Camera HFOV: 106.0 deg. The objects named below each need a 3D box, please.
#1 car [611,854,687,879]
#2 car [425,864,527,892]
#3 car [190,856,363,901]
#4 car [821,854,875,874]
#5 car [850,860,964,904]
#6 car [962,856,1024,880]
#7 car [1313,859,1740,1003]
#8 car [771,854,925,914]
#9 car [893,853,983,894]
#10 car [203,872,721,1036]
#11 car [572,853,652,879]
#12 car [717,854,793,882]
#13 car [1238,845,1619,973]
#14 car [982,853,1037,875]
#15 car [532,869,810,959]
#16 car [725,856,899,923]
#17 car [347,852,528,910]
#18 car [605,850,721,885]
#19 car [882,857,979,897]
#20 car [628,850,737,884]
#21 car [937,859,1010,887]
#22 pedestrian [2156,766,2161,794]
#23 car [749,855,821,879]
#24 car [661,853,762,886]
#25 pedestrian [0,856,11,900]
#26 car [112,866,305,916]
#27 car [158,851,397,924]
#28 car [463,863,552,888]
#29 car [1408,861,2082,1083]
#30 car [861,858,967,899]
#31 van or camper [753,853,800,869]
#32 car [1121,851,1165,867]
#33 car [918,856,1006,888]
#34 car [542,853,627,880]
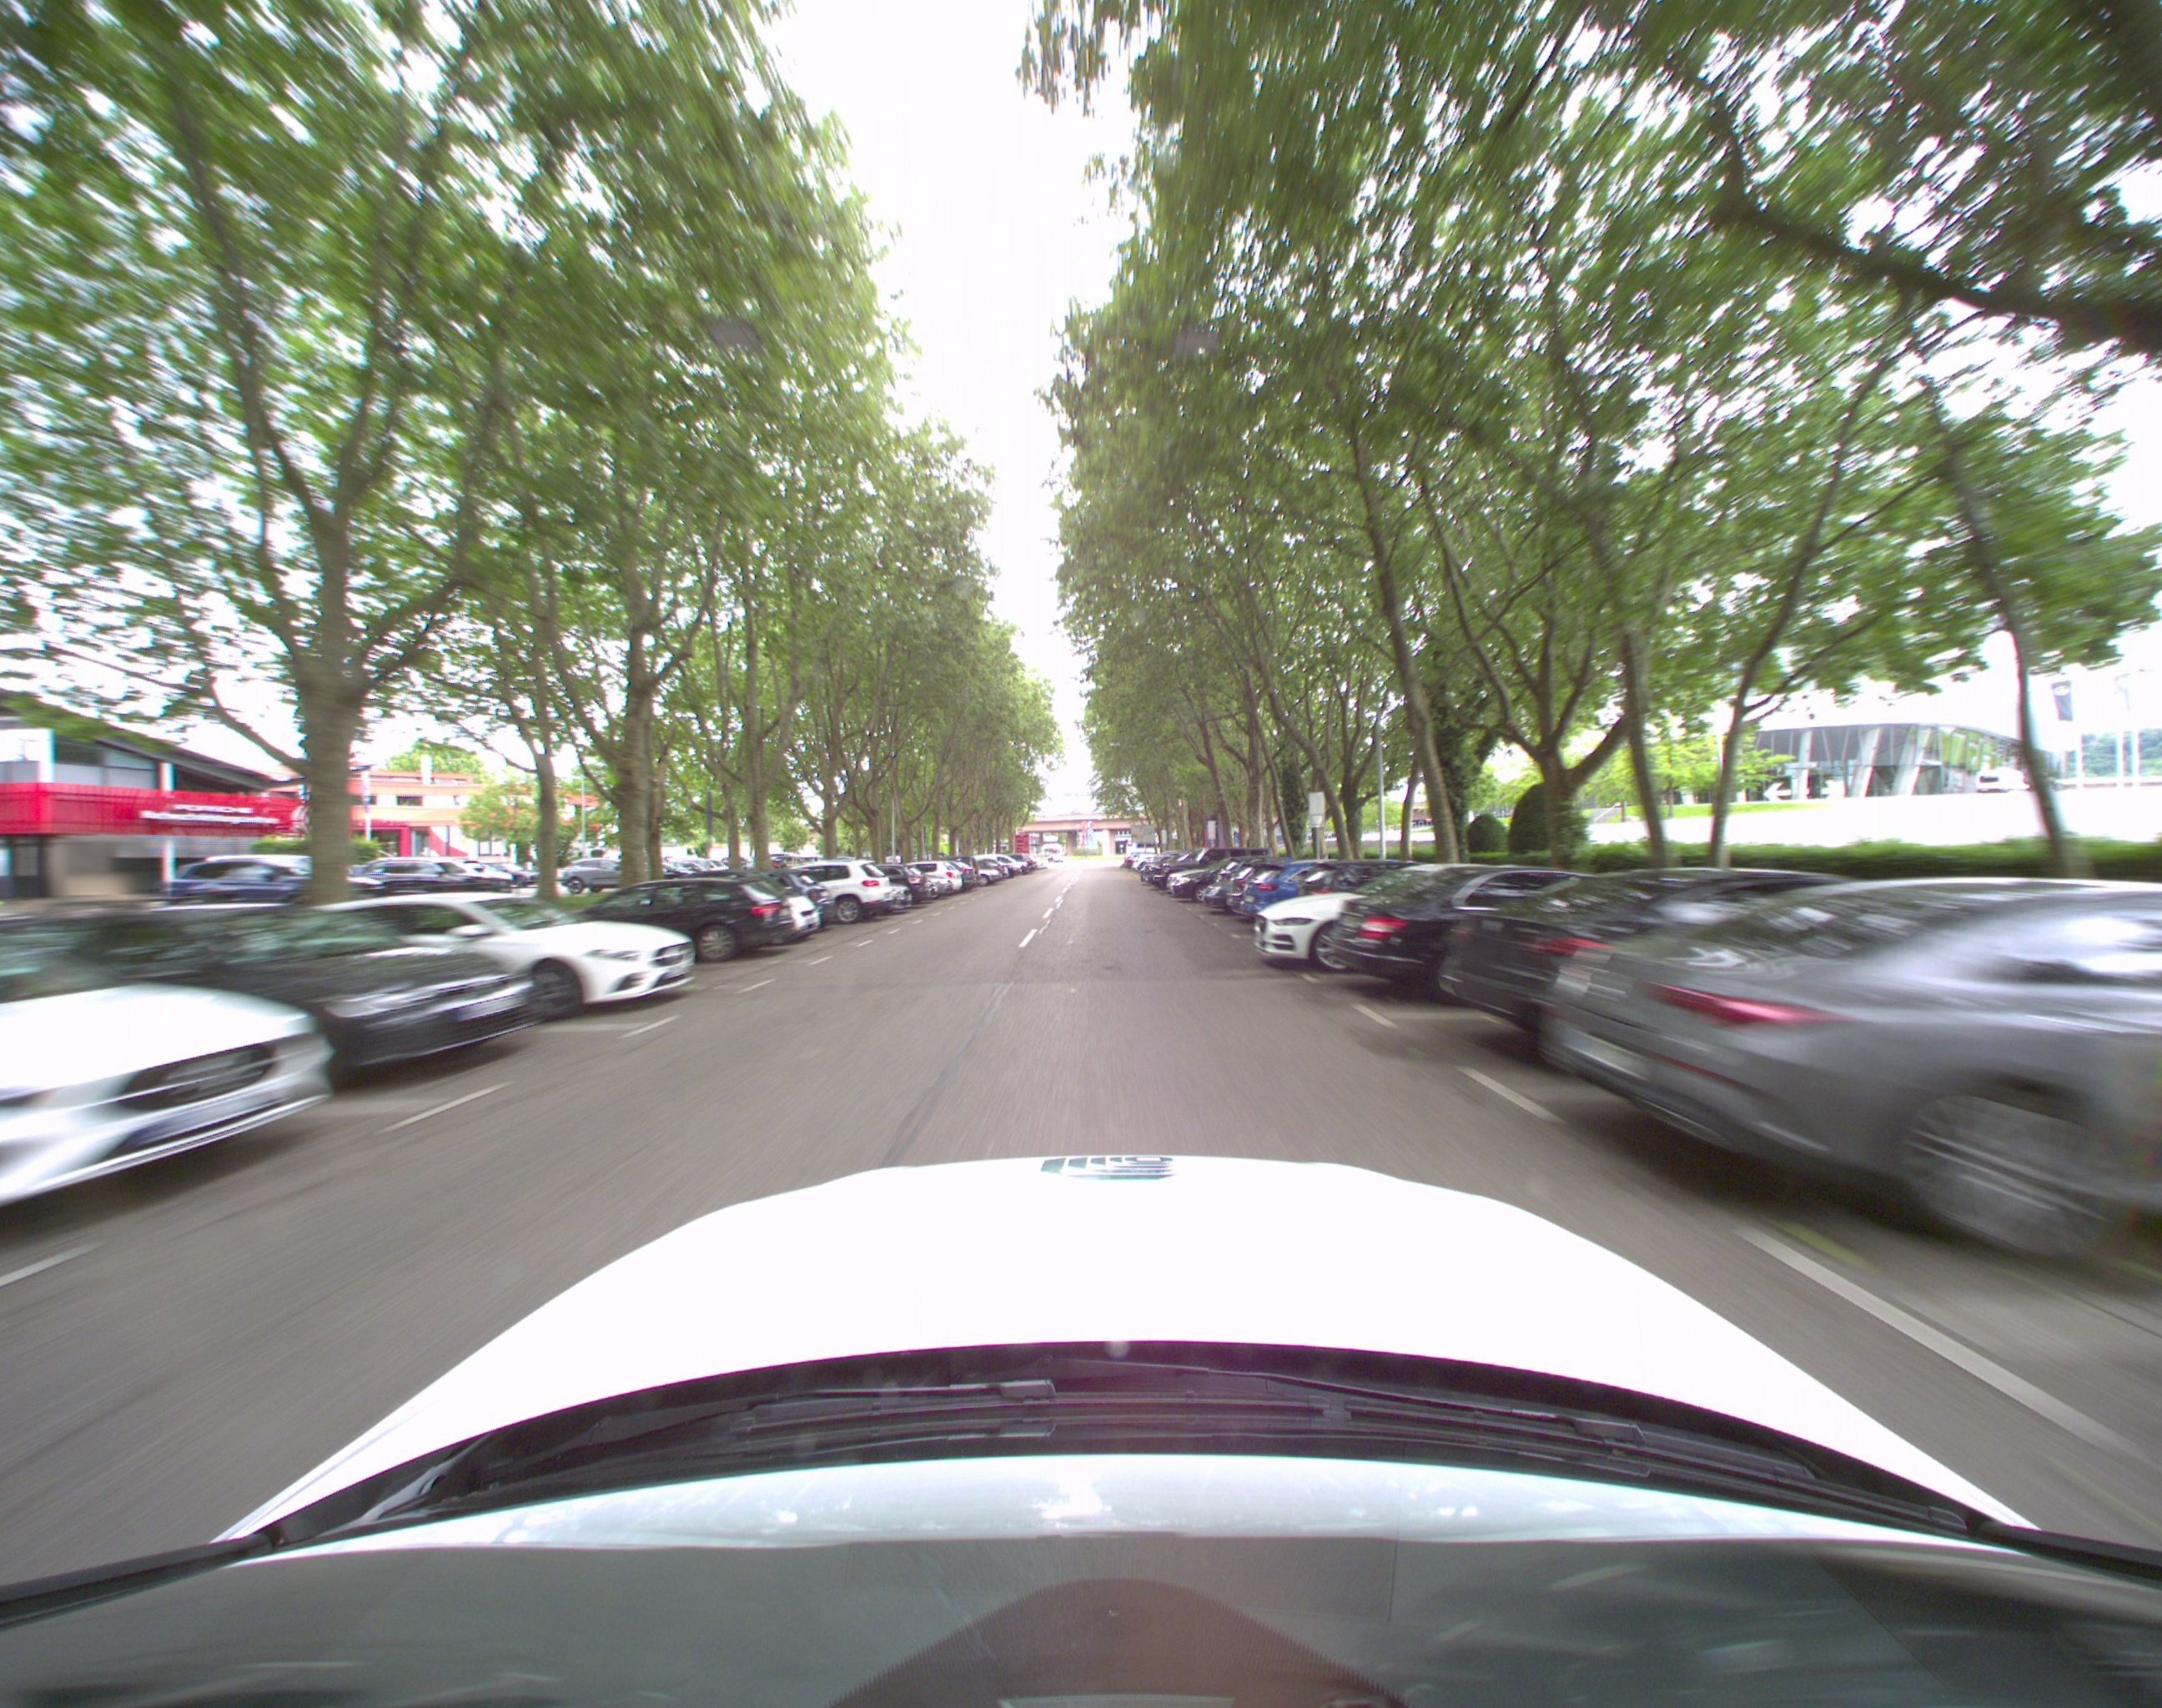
[{"bbox_3d":[-32.938,0.975,62.143,4.556,1.855,2.300,0,-1,5],"label":"car"},{"bbox_3d":[-32.807,1.274,44.235,3.975,1.427,1.999,0,-1,-1],"label":"car"},{"bbox_3d":[-33.422,0.995,33.967,4.928,1.797,2.182,0,-1,-2],"label":"car"},{"bbox_3d":[-21.505,0.919,75.239,4.307,1.709,2.131,0,-1,0],"label":"car"},{"bbox_3d":[-6.666,1.062,31.547,3.981,1.420,1.703,-3,0,-1],"label":"car"},{"bbox_3d":[-6.103,0.950,56.627,3.961,1.421,1.757,-3,0,4],"label":"car"},{"bbox_3d":[4.700,0.778,9.017,3.816,1.417,1.719,0,0,1],"label":"car"},{"bbox_3d":[-6.824,0.861,24.100,3.972,1.682,1.856,0,-1,1],"label":"car"},{"bbox_3d":[-6.786,0.900,38.934,3.919,1.708,1.751,-3,0,-1],"label":"car"},{"bbox_3d":[-6.917,1.069,9.553,4.394,1.444,2.047,-3,0,-1],"label":"car"},{"bbox_3d":[-34.097,0.888,59.270,4.556,1.855,2.300,0,-1,5],"label":"car"},{"bbox_3d":[-22.183,0.960,55.516,4.307,1.861,2.028,0,-1,0],"label":"car"},{"bbox_3d":[4.619,0.695,11.416,4.507,1.623,2.055,0,0,1],"label":"car"},{"bbox_3d":[-5.859,0.823,66.833,4.302,1.795,2.037,0,-1,1],"label":"car"},{"bbox_3d":[-7.142,1.010,14.476,3.972,1.453,1.856,0,-1,1],"label":"car"},{"bbox_3d":[-7.057,0.903,21.676,3.972,1.682,1.856,0,-1,1],"label":"car"},{"bbox_3d":[-22.208,0.895,28.271,4.540,1.720,1.999,-3,0,-2],"label":"car"},{"bbox_3d":[-21.906,0.698,42.855,4.928,1.797,2.182,0,-1,-2],"label":"car"},{"bbox_3d":[-6.676,1.005,36.433,3.919,1.516,1.728,-3,0,-1],"label":"car"},{"bbox_3d":[-22.126,0.718,45.392,4.928,1.797,2.182,0,-1,-2],"label":"car"},{"bbox_3d":[-6.129,1.080,46.789,3.919,1.398,1.703,-3,0,-1],"label":"car"},{"bbox_3d":[79.475,-5.431,59.191,1.153,2.014,1.112,-2,-1,11],"label":"pedestrian"},{"bbox_3d":[-22.035,0.953,60.778,4.537,1.725,2.296,0,-1,0],"label":"car"},{"bbox_3d":[-21.780,0.891,48.179,4.928,1.797,2.182,-1,0,-2],"label":"car"},{"bbox_3d":[-41.184,0.907,30.505,0.836,1.657,0.988,0,-1,0],"label":"pedestrian"},{"bbox_3d":[-33.523,1.379,31.427,4.928,1.797,2.182,0,-1,-2],"label":"car"},{"bbox_3d":[-22.336,0.894,22.790,4.540,1.720,1.999,-3,0,-2],"label":"car"},{"bbox_3d":[-32.685,1.222,46.468,3.975,1.371,1.505,0,-1,-1],"label":"car"},{"bbox_3d":[4.986,0.788,6.507,4.010,1.417,1.908,0,0,-5],"label":"car"},{"bbox_3d":[-7.036,1.028,34.492,3.974,1.485,1.706,-3,0,5],"label":"car"},{"bbox_3d":[-33.279,0.766,89.043,4.307,1.709,2.131,0,-1,0],"label":"van or camper"},{"bbox_3d":[6.209,0.498,81.567,4.330,1.633,1.926,0,0,1],"label":"car"},{"bbox_3d":[-6.431,0.956,44.367,4.450,1.482,1.702,-3,0,-1],"label":"car"},{"bbox_3d":[-34.457,0.871,56.568,4.556,1.855,2.300,0,-1,5],"label":"car"}]
